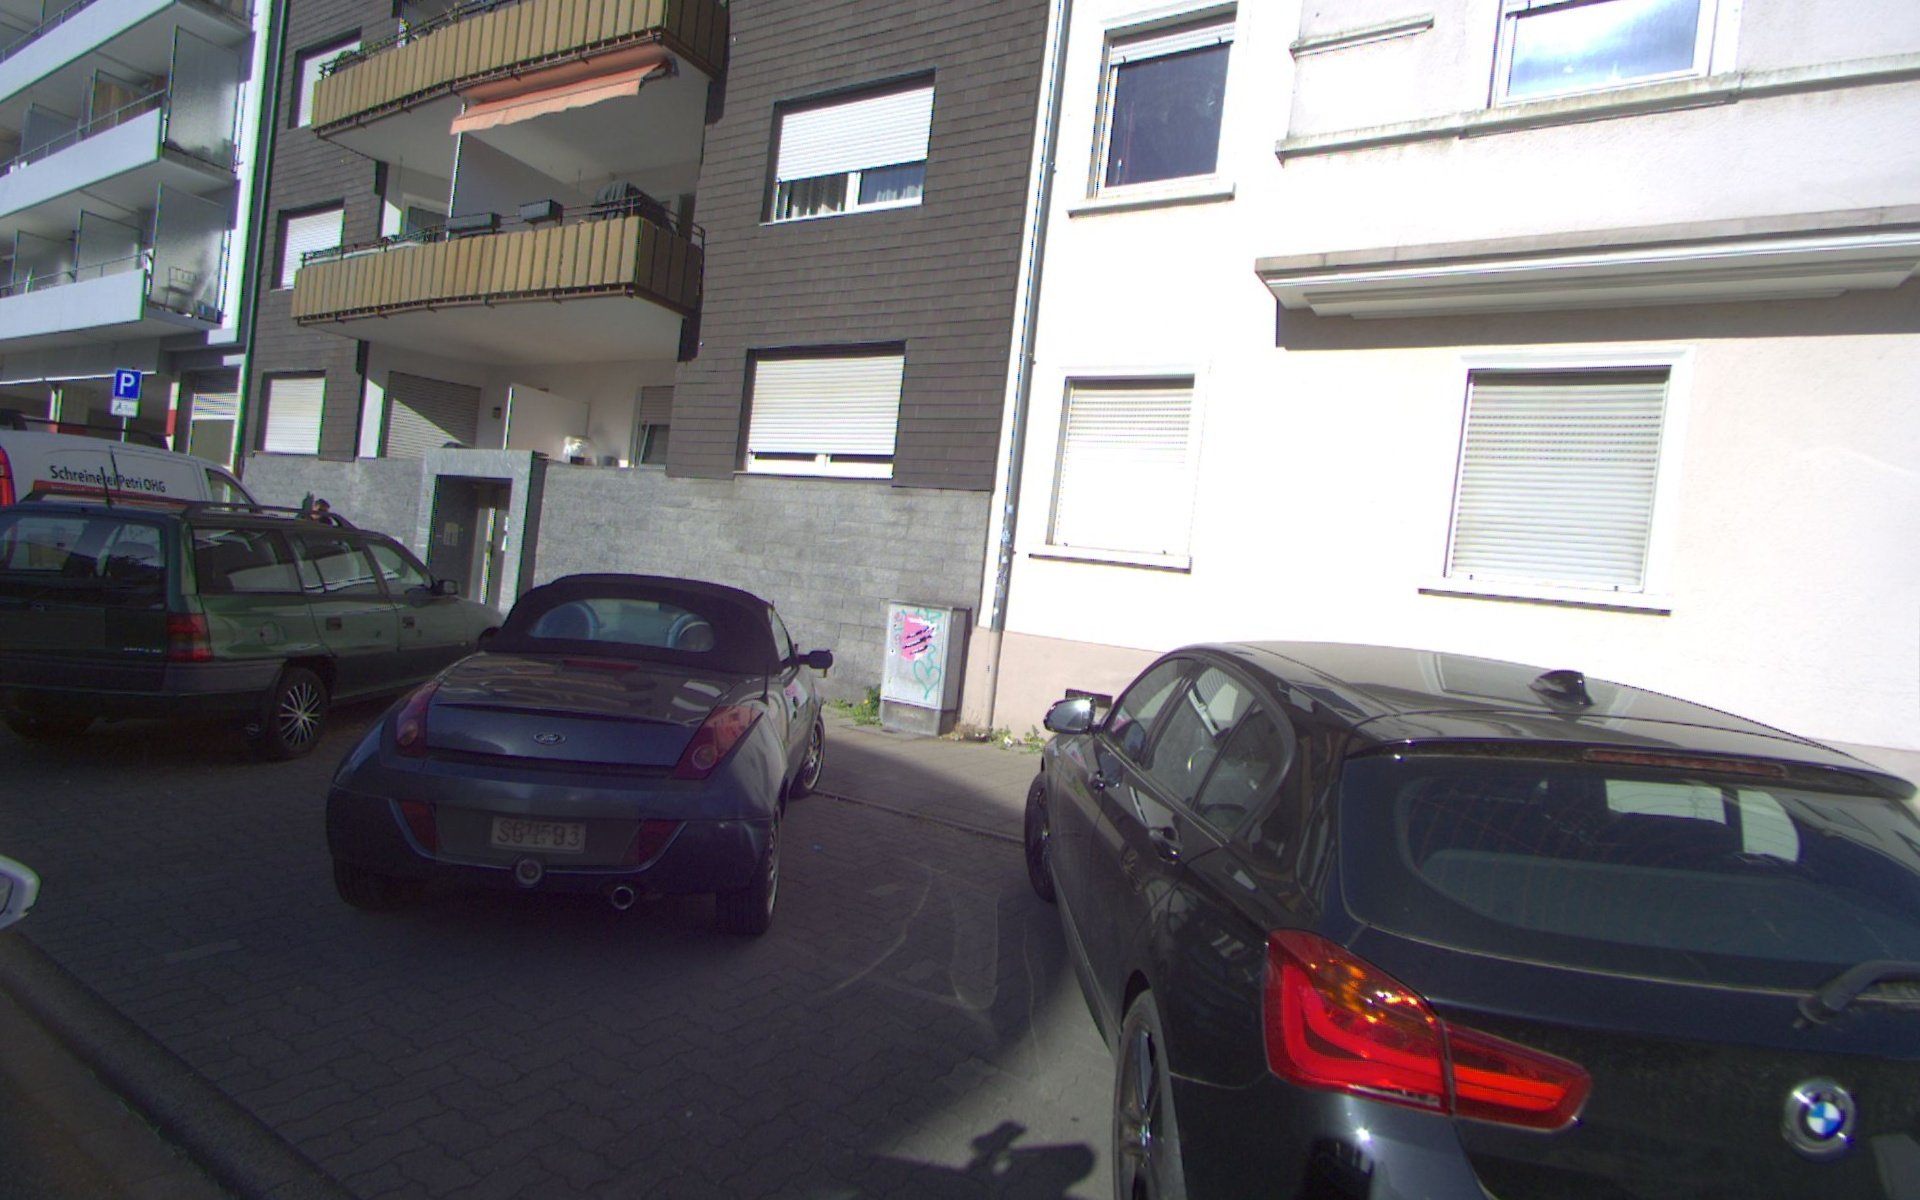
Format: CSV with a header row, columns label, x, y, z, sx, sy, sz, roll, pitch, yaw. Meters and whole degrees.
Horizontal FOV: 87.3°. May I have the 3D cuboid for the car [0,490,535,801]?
label,x,y,z,sx,sy,sz,roll,pitch,yaw
car,-4.691,0.162,7.100,1.586,1.509,3.993,4,2,0

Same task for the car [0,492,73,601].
label,x,y,z,sx,sy,sz,roll,pitch,yaw
car,-13.701,-0.790,12.575,1.662,1.484,4.638,5,0,-10

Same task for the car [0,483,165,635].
label,x,y,z,sx,sy,sz,roll,pitch,yaw
car,-10.653,-0.511,10.636,1.728,1.531,4.316,6,0,-13

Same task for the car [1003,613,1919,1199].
label,x,y,z,sx,sy,sz,roll,pitch,yaw
car,1.254,0.881,3.490,1.789,1.515,4.171,5,-1,-2

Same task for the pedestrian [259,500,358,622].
label,x,y,z,sx,sy,sz,roll,pitch,yaw
pedestrian,-9.302,-0.550,14.364,0.875,1.614,0.832,7,1,37

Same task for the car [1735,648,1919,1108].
label,x,y,z,sx,sy,sz,roll,pitch,yaw
car,4.315,1.138,1.690,1.937,1.483,4.866,7,2,-3

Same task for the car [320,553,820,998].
label,x,y,z,sx,sy,sz,roll,pitch,yaw
car,-1.560,0.635,5.171,1.513,1.405,3.393,7,-1,-8

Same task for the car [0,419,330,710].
label,x,y,z,sx,sy,sz,roll,pitch,yaw
car,-7.639,-0.368,8.680,2.014,1.923,4.520,4,1,-9
